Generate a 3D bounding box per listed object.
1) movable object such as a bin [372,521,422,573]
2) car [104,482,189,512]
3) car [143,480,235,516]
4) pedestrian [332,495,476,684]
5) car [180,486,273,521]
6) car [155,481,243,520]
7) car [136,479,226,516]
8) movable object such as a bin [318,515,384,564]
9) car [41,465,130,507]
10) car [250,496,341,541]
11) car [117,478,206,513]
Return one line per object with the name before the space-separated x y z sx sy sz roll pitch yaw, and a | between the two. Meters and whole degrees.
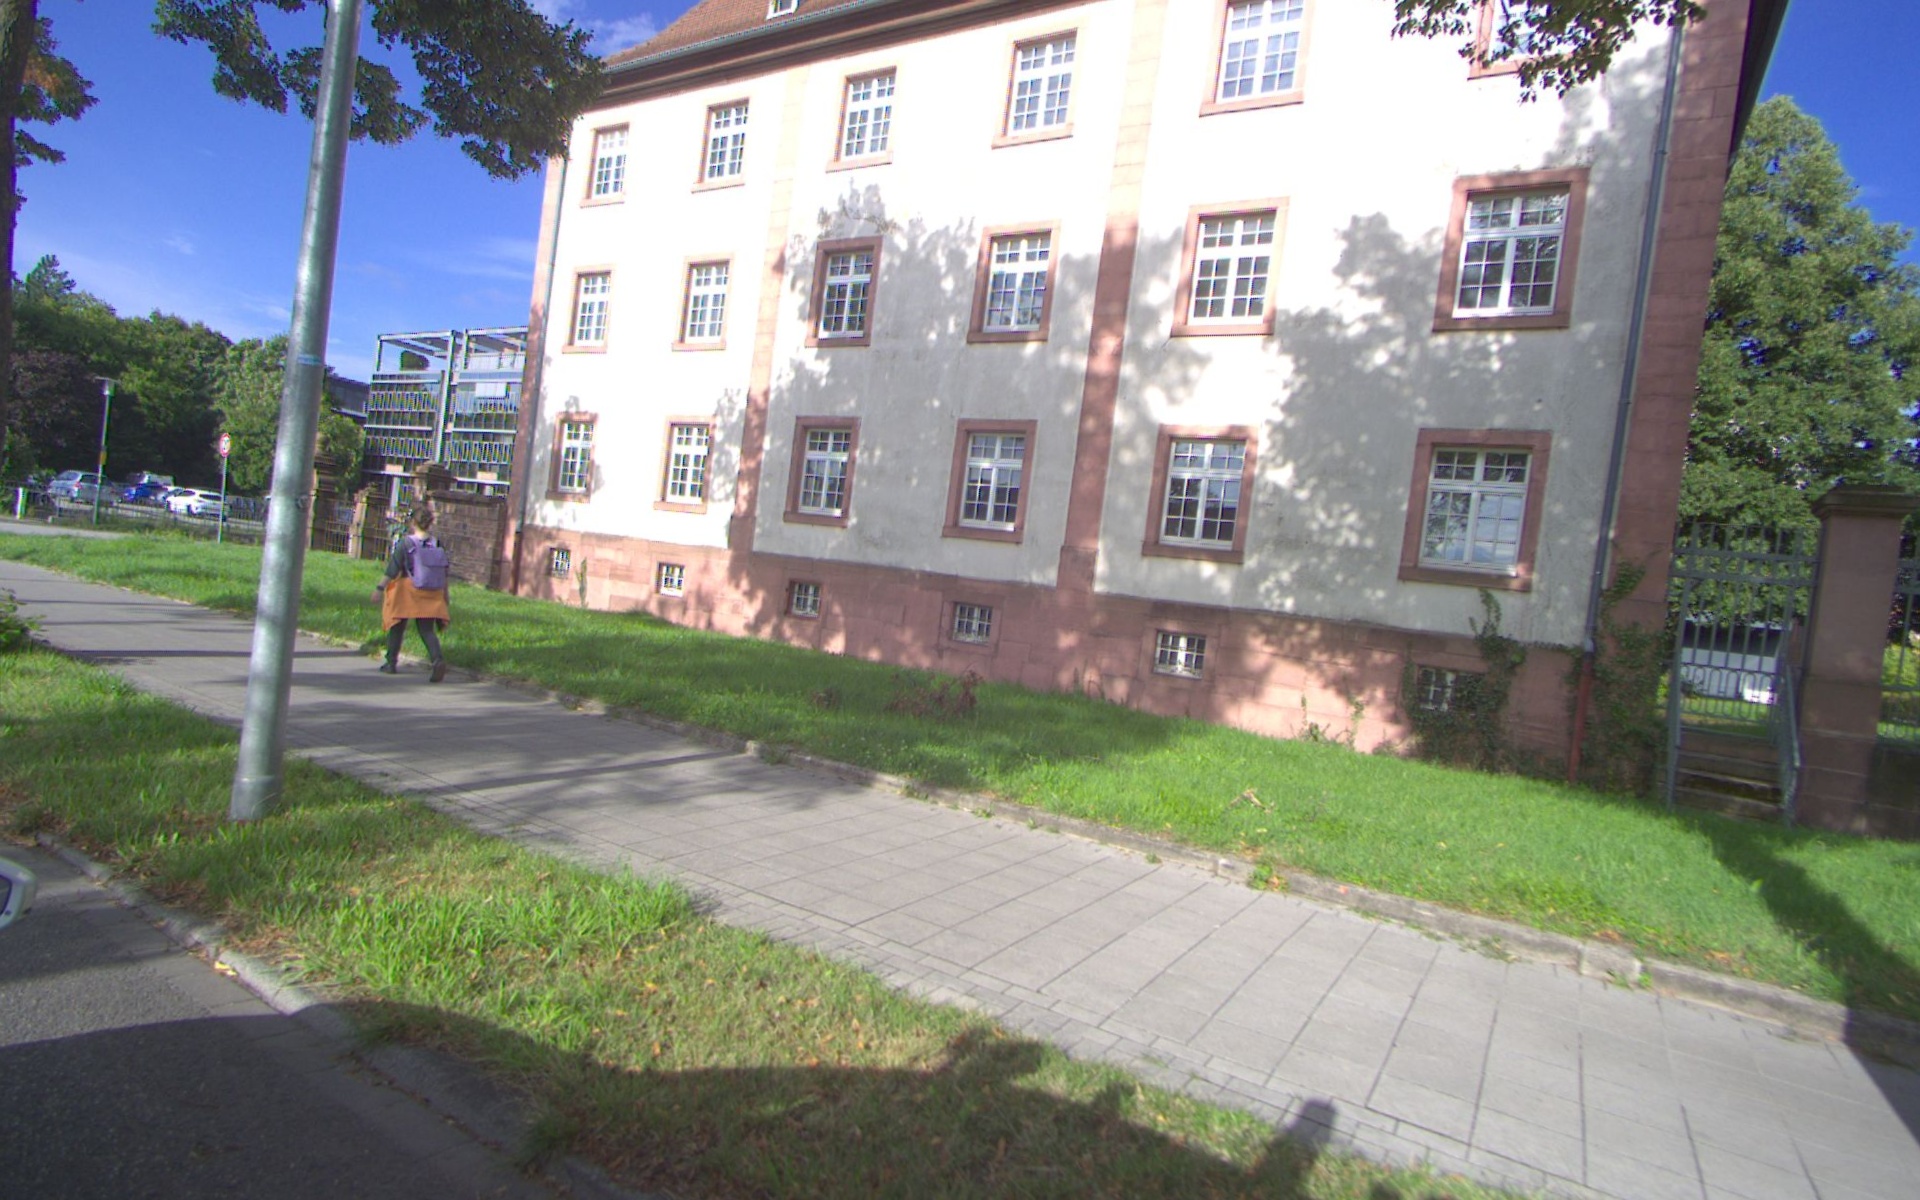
movable object such as a bin | -17.211 -1.619 30.761 0.926 1.441 0.831 8 1 28
car | -55.058 -6.952 68.143 1.966 1.346 3.992 8 1 30
car | -47.309 -6.260 61.818 1.966 1.505 3.991 8 1 30
pedestrian | -5.129 -0.095 9.298 0.756 1.612 0.814 8 3 31
car | -43.198 -5.688 59.318 1.969 1.325 3.988 7 -1 37
car | -39.802 -5.218 52.626 3.928 1.460 1.998 8 1 25
car | -49.180 -6.459 63.576 1.966 1.616 3.991 8 1 30
movable object such as a bin | -18.248 -1.809 30.156 1.074 1.246 1.193 8 0 28
car | -42.534 -5.550 48.915 3.931 1.460 1.996 8 1 29
car | -31.185 -3.839 47.177 4.532 1.610 1.851 7 2 33
car | -51.495 -6.729 64.907 1.966 1.572 3.991 8 1 30
